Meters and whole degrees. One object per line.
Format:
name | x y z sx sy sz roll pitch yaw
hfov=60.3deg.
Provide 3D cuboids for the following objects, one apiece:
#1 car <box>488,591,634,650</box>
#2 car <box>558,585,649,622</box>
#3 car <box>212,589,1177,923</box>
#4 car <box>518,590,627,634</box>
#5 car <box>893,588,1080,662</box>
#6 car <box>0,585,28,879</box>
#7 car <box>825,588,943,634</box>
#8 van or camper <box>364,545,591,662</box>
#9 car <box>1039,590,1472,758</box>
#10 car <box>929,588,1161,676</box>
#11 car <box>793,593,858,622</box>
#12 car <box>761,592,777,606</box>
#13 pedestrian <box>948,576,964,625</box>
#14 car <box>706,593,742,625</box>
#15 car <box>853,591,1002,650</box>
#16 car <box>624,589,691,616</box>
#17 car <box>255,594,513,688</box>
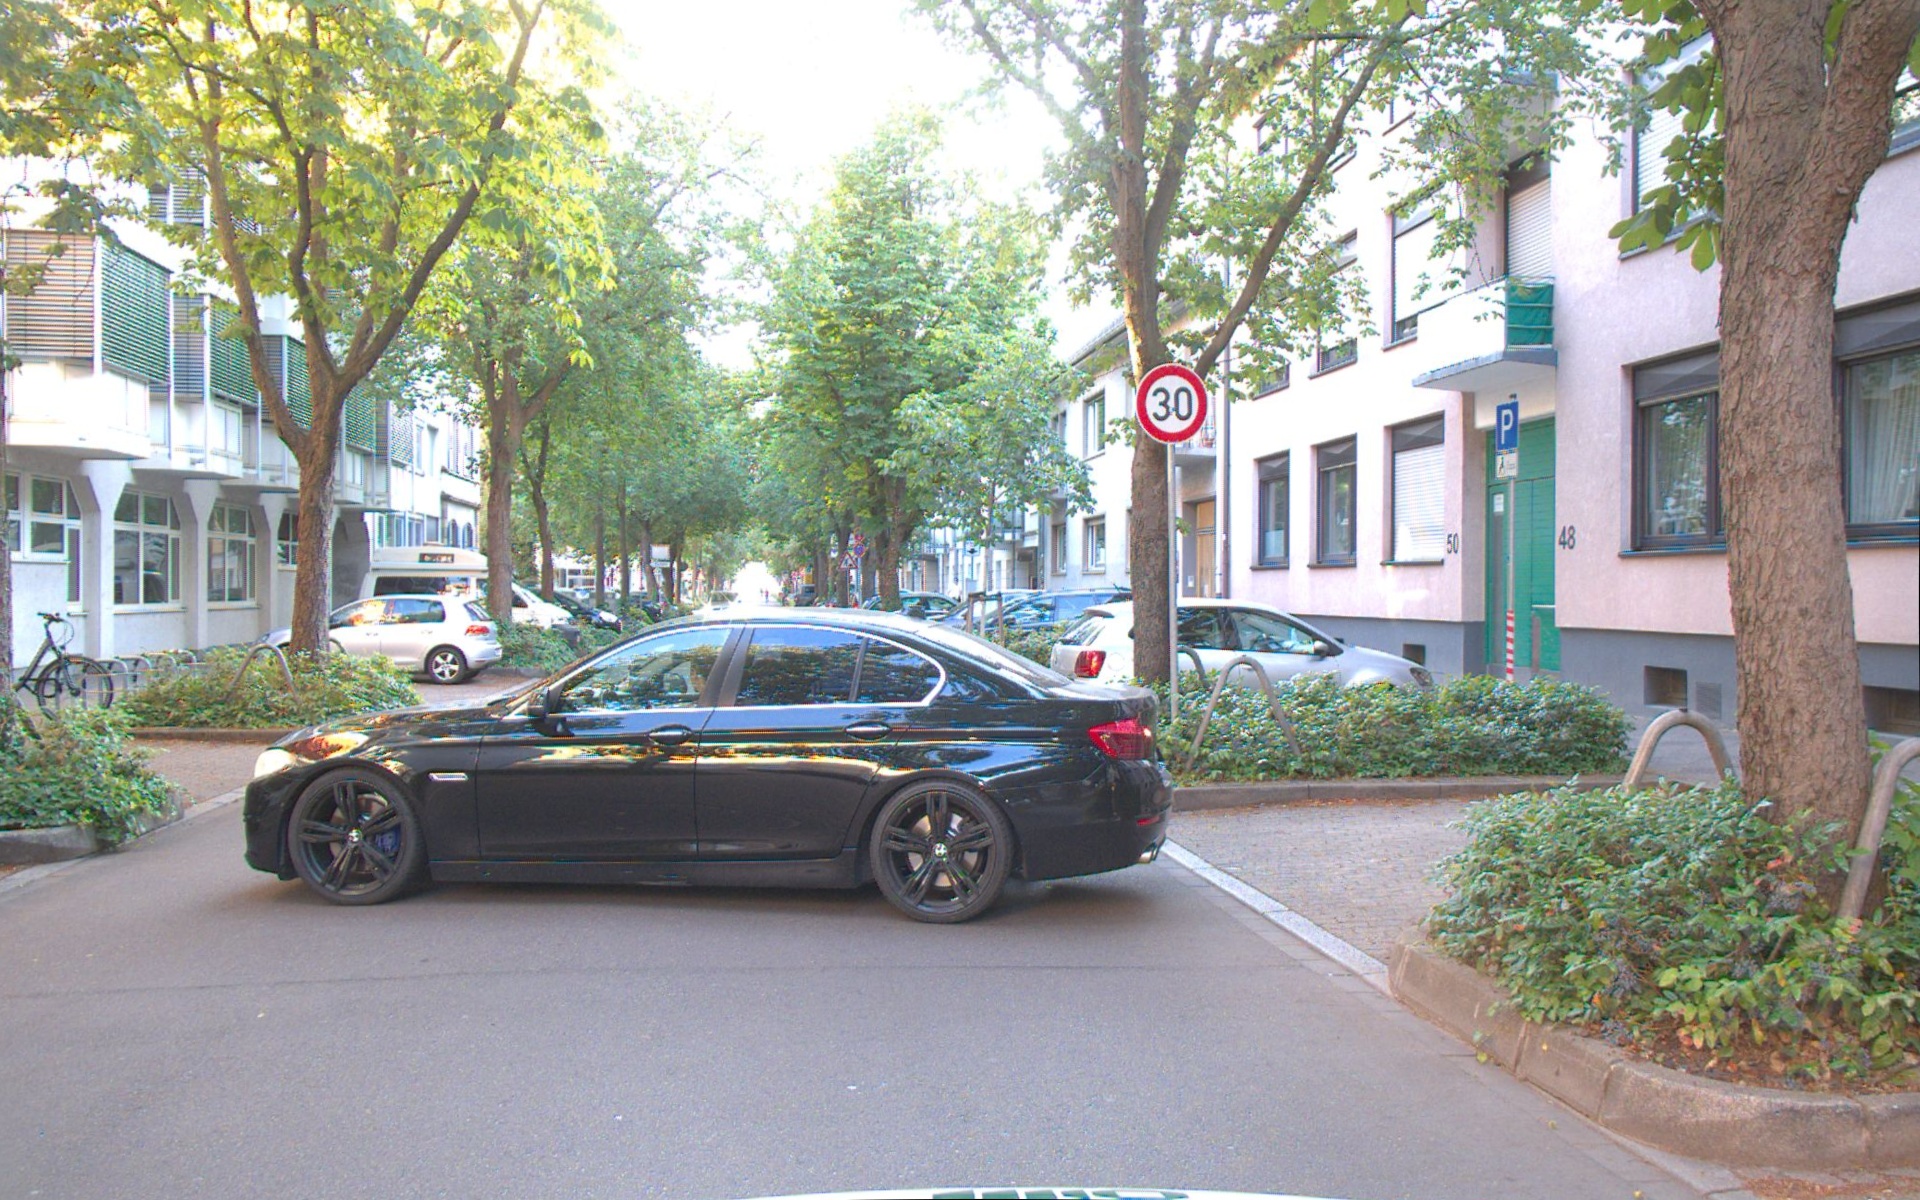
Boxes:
car | -11.493 0.567 47.854 3.892 1.647 1.783 0 0 -6
car | -16.318 0.161 75.882 3.891 1.647 1.783 0 0 -6
car | -1.215 0.702 8.645 4.644 1.506 1.801 0 0 7
car | -15.014 0.444 64.268 3.891 1.647 1.783 0 0 -6
car | 0.541 0.527 36.145 3.893 1.554 1.782 0 0 -8
car | -7.106 0.708 7.863 4.272 1.544 1.782 0 0 -7
car | -2.630 0.365 56.773 3.894 1.554 1.782 0 0 -9
van or camper | -10.674 0.058 36.876 4.575 2.521 1.997 0 0 -7
car | 2.806 0.666 16.103 3.836 1.502 1.661 0 0 -9
car | 1.489 0.538 29.690 3.894 1.502 1.781 0 0 -9
car | -8.169 0.470 100.639 3.891 1.713 1.783 0 0 -6
car | -22.484 -0.153 195.056 1.787 1.557 3.995 -1 0 -6
pedestrian | -0.170 0.031 69.479 0.577 2.049 0.669 0 0 -6
car | -12.382 0.459 86.926 1.745 1.589 4.162 0 0 -6
car | -0.910 0.537 44.933 3.893 1.554 1.782 0 0 -8
car | -18.643 0.155 102.137 3.891 1.647 1.783 0 0 -6
car | -9.864 0.681 28.574 3.892 1.544 1.783 0 0 -6
